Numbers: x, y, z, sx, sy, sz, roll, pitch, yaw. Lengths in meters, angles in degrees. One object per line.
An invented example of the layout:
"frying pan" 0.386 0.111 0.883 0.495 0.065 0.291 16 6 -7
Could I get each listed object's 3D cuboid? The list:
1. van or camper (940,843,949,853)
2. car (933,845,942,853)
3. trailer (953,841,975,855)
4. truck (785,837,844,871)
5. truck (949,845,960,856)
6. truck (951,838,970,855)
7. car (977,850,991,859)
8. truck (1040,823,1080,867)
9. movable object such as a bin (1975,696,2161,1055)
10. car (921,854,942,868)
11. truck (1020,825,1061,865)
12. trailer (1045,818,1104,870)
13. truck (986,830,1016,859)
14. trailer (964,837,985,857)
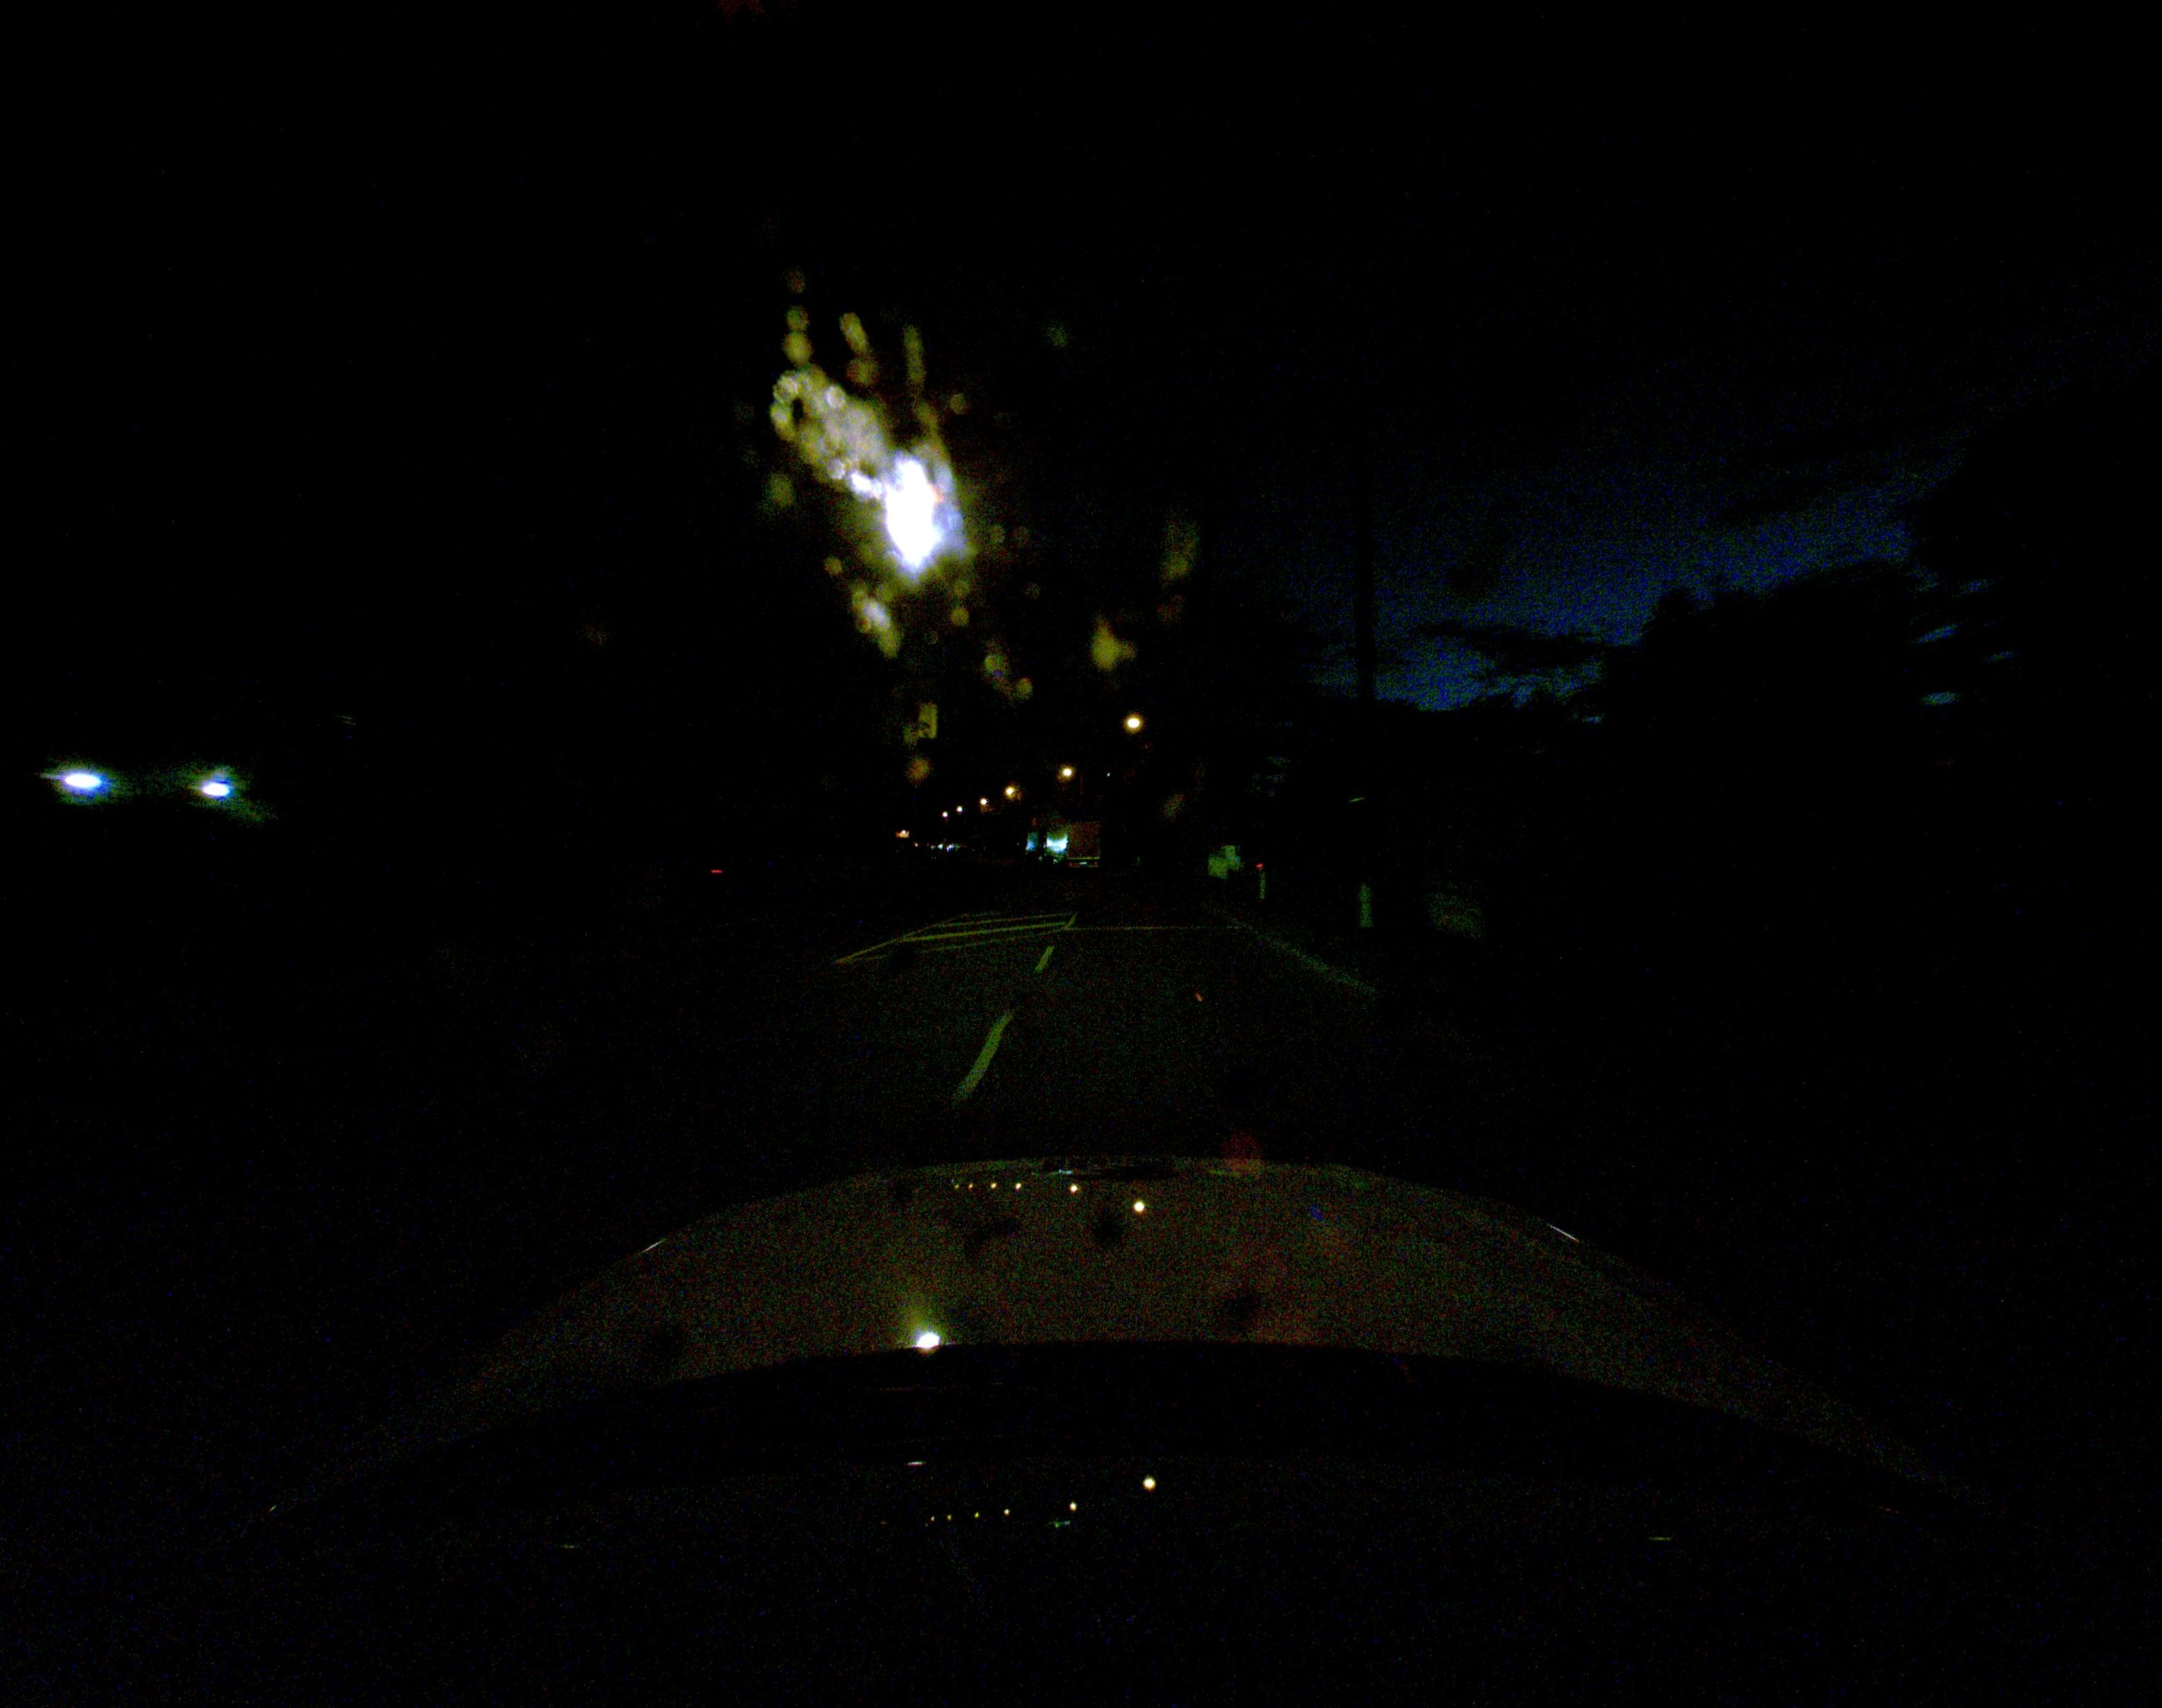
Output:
"van or camper" -33.917 -1.459 202.242 1.996 2.581 4.892 0 0 -13
"car" -39.066 -1.350 221.958 1.996 2.145 3.981 0 0 -14
"trailer" -23.408 -1.129 162.851 3.189 2.749 10.663 -1 0 -14
"truck" -15.820 -0.007 48.625 1.989 1.900 5.311 1 0 -3
"truck" -28.250 -0.898 181.448 1.996 2.407 5.267 0 0 -14
"truck" -25.153 -1.508 169.740 3.156 3.463 6.641 -1 0 -14
"car" -15.970 0.087 134.571 1.855 1.519 3.800 -1 0 -14
"truck" -2.054 -0.865 77.006 2.831 3.983 6.028 -1 0 -11
"movable object such as a bin" 7.973 0.155 5.736 1.679 2.383 1.611 1 0 -9
"car" -18.278 0.792 99.390 1.997 1.636 4.749 1 0 -16
"truck" -4.482 -0.919 87.054 2.832 3.983 10.302 -1 0 -11
"trailer" -0.791 -0.798 70.030 2.809 3.983 13.927 -1 0 -10
"truck" -11.832 -1.341 119.667 3.521 3.983 10.305 -1 0 -10
"trailer" -19.276 -1.317 147.142 2.693 3.464 7.765 1 0 -17
